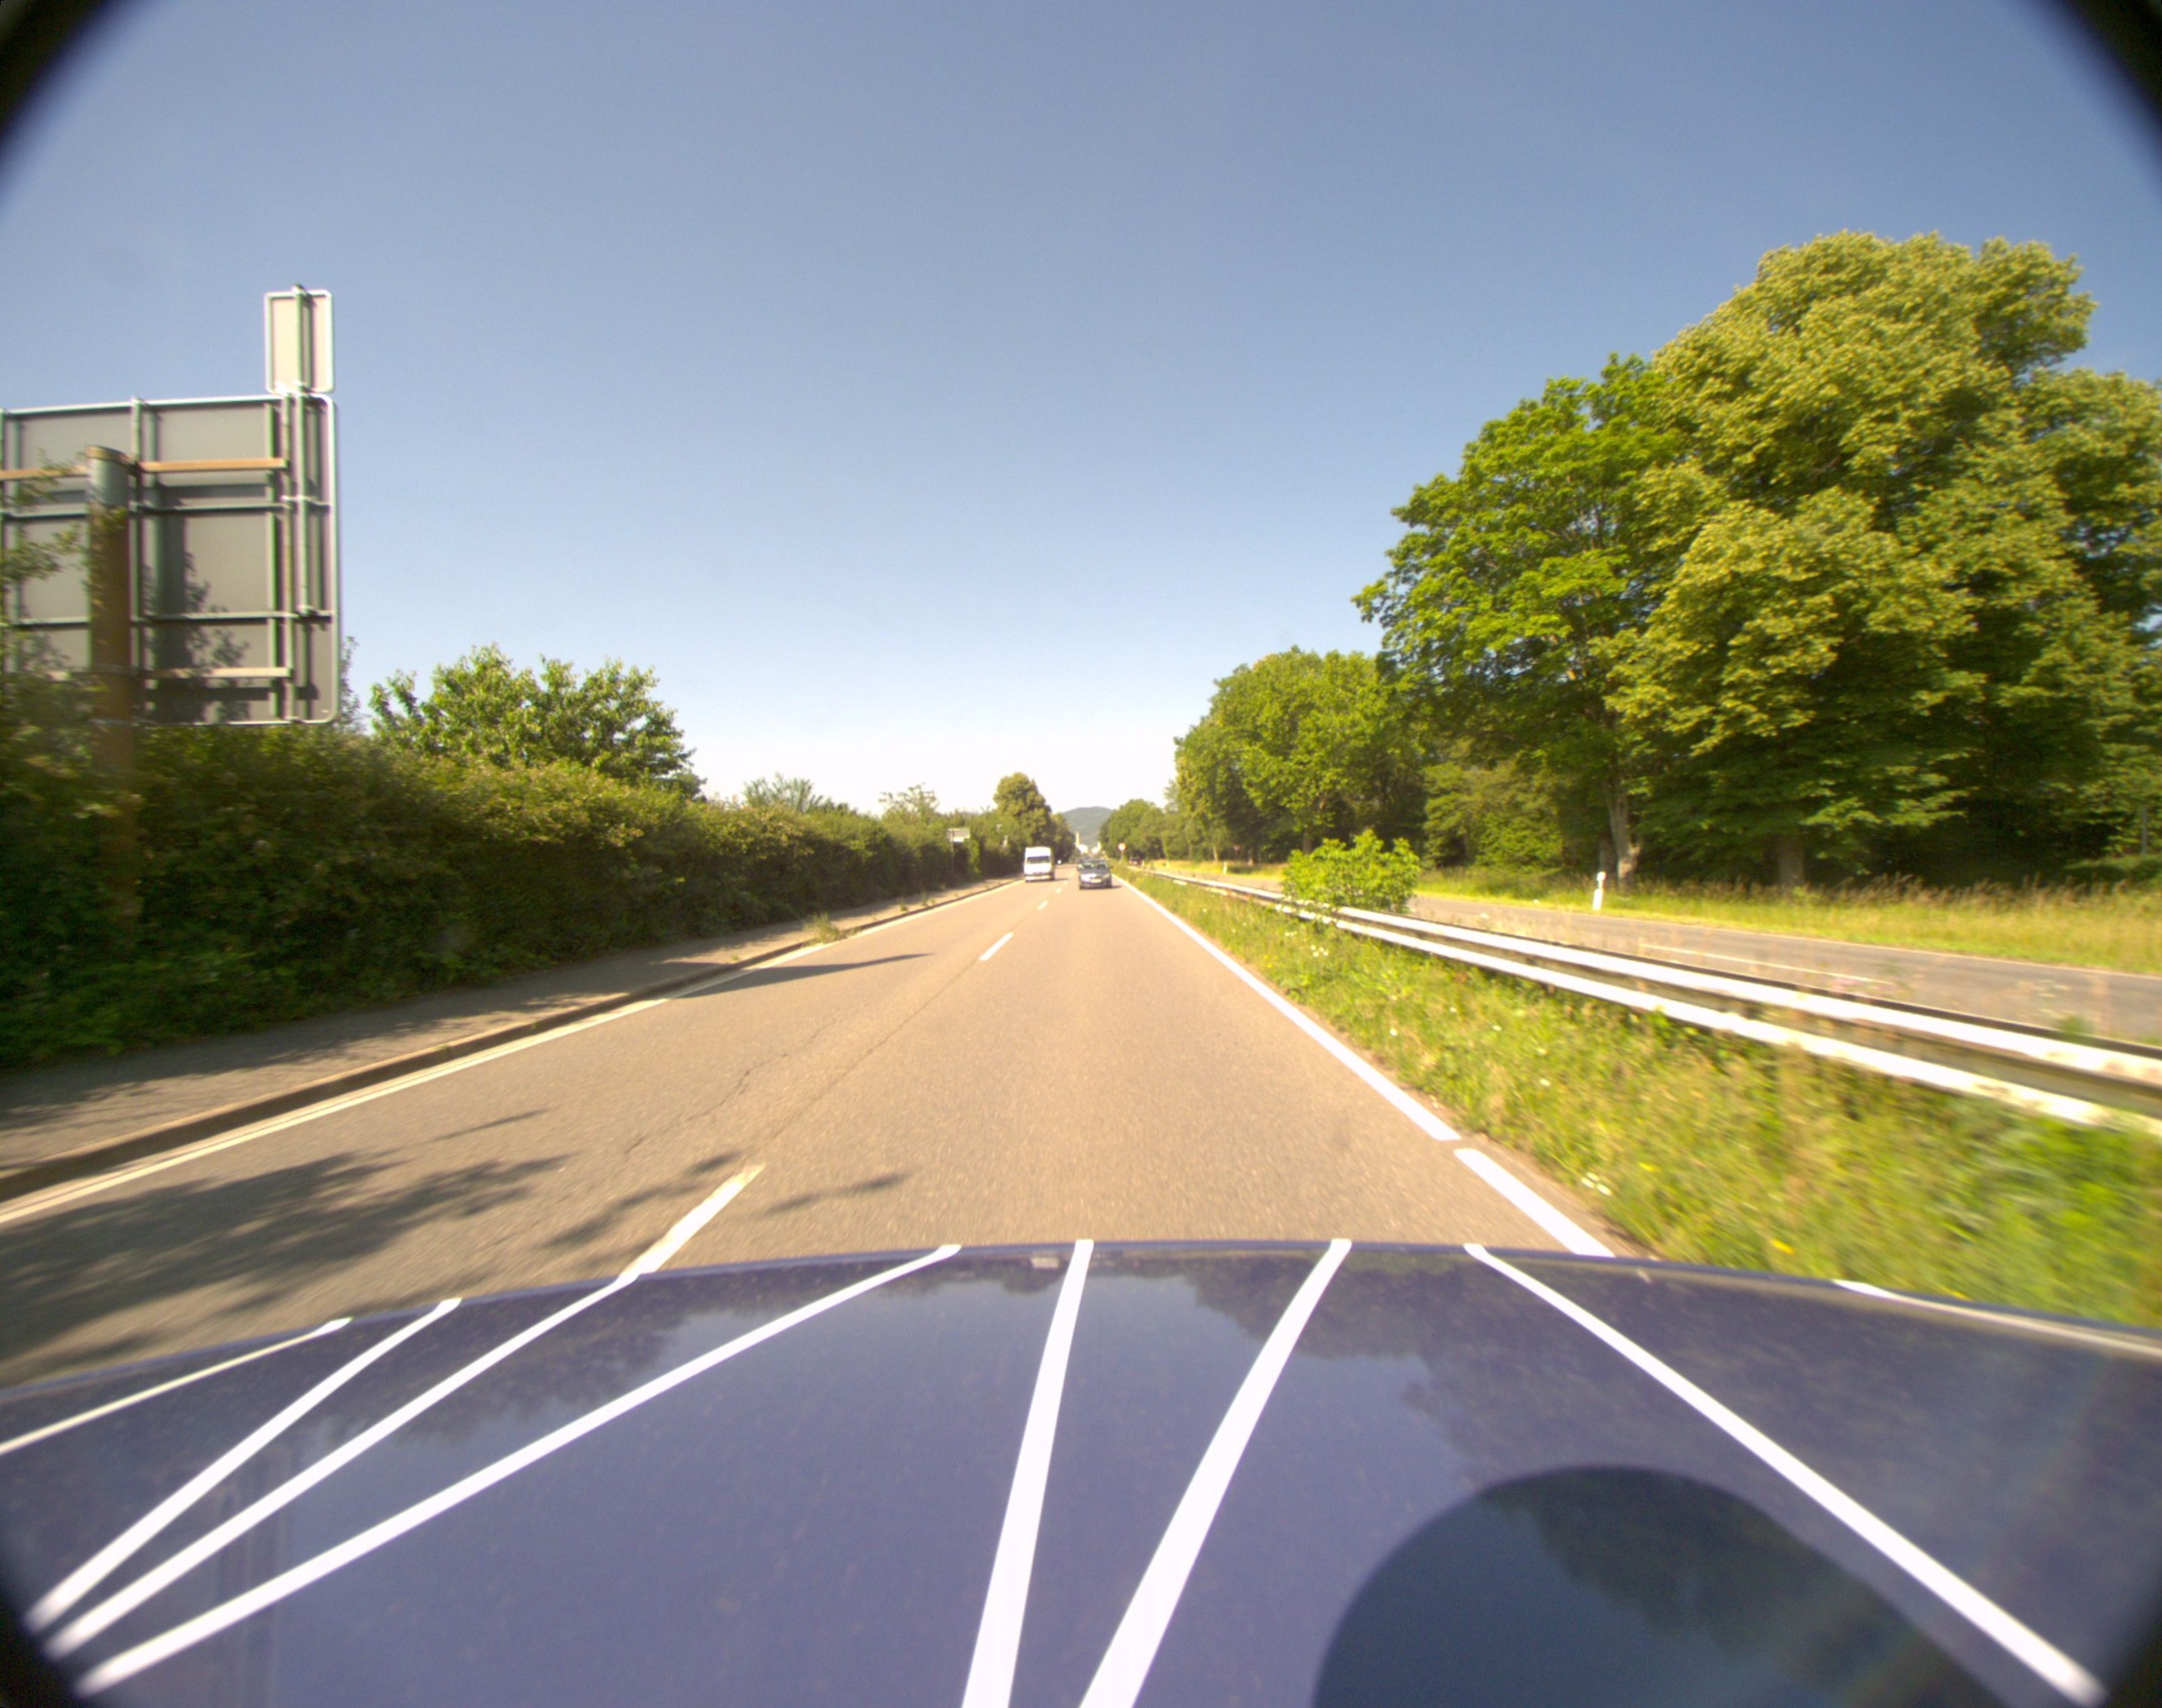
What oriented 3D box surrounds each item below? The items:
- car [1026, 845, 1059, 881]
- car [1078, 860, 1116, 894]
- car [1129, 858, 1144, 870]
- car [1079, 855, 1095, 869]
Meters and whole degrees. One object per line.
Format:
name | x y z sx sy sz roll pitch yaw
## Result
car | -2.782 0.607 55.952 1.998 2.432 5.088 -2 0 0
car | 0.741 1.066 36.647 1.678 1.435 4.361 -2 0 1
car | 7.147 1.224 97.570 1.783 1.521 4.162 0 0 2
car | 0.704 0.912 85.954 1.678 1.435 3.622 -2 0 1
